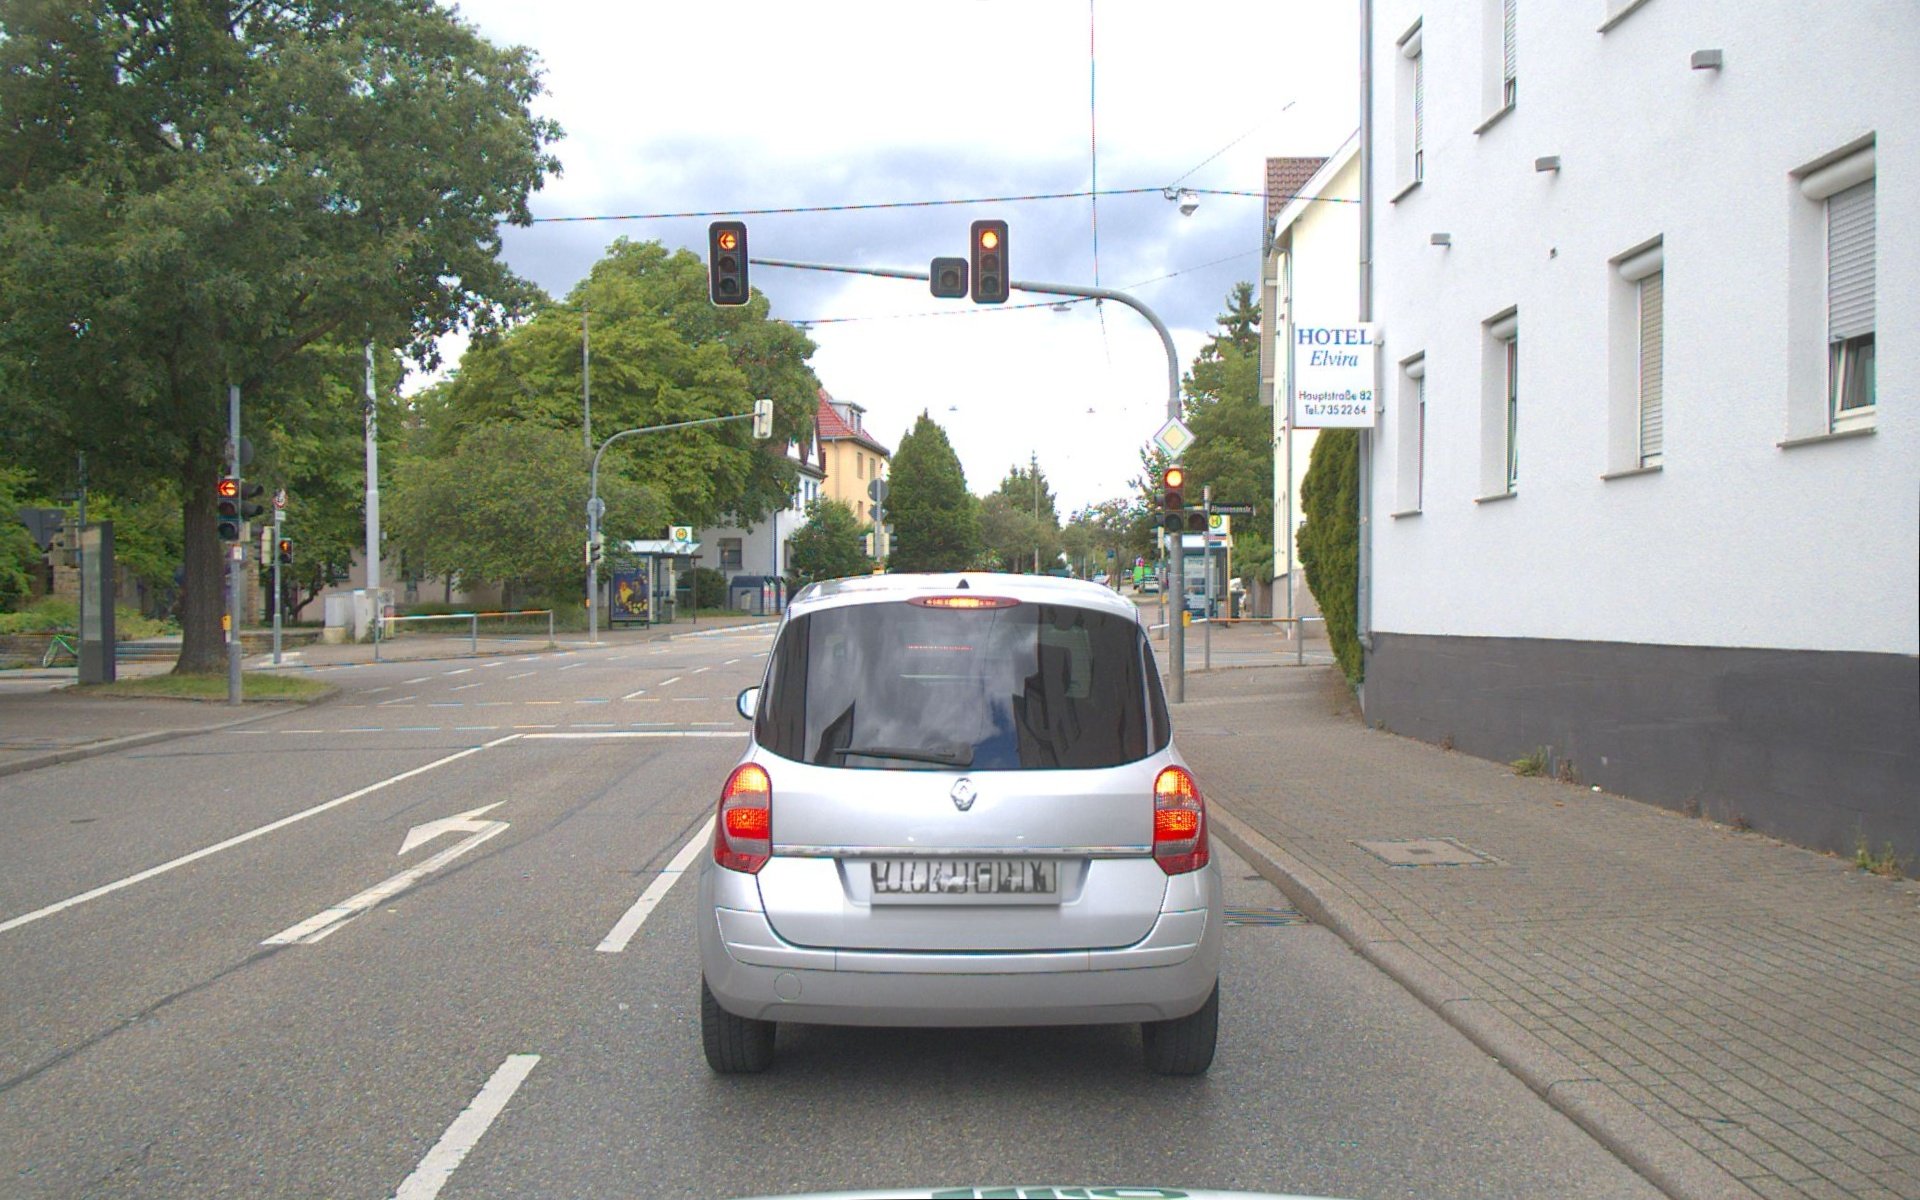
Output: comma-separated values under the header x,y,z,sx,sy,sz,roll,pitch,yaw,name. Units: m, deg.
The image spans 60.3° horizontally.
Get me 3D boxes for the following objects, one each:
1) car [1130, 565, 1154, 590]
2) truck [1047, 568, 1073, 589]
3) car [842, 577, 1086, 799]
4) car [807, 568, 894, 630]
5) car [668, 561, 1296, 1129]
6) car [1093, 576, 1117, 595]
x,y,z,sx,sy,sz,roll,pitch,yaw,name
19.262,-2.346,175.053,2.015,2.556,5.600,1,0,11,car
10.085,-2.154,166.685,2.056,2.049,5.752,1,0,9,truck
-0.008,0.623,13.615,1.719,1.557,3.796,1,0,-1,car
-3.535,-0.050,54.130,1.885,1.804,4.004,-4,0,9,car
0.025,0.677,6.559,1.719,1.557,3.999,1,0,-1,car
13.935,-1.348,158.905,1.818,1.778,4.003,1,0,11,car
